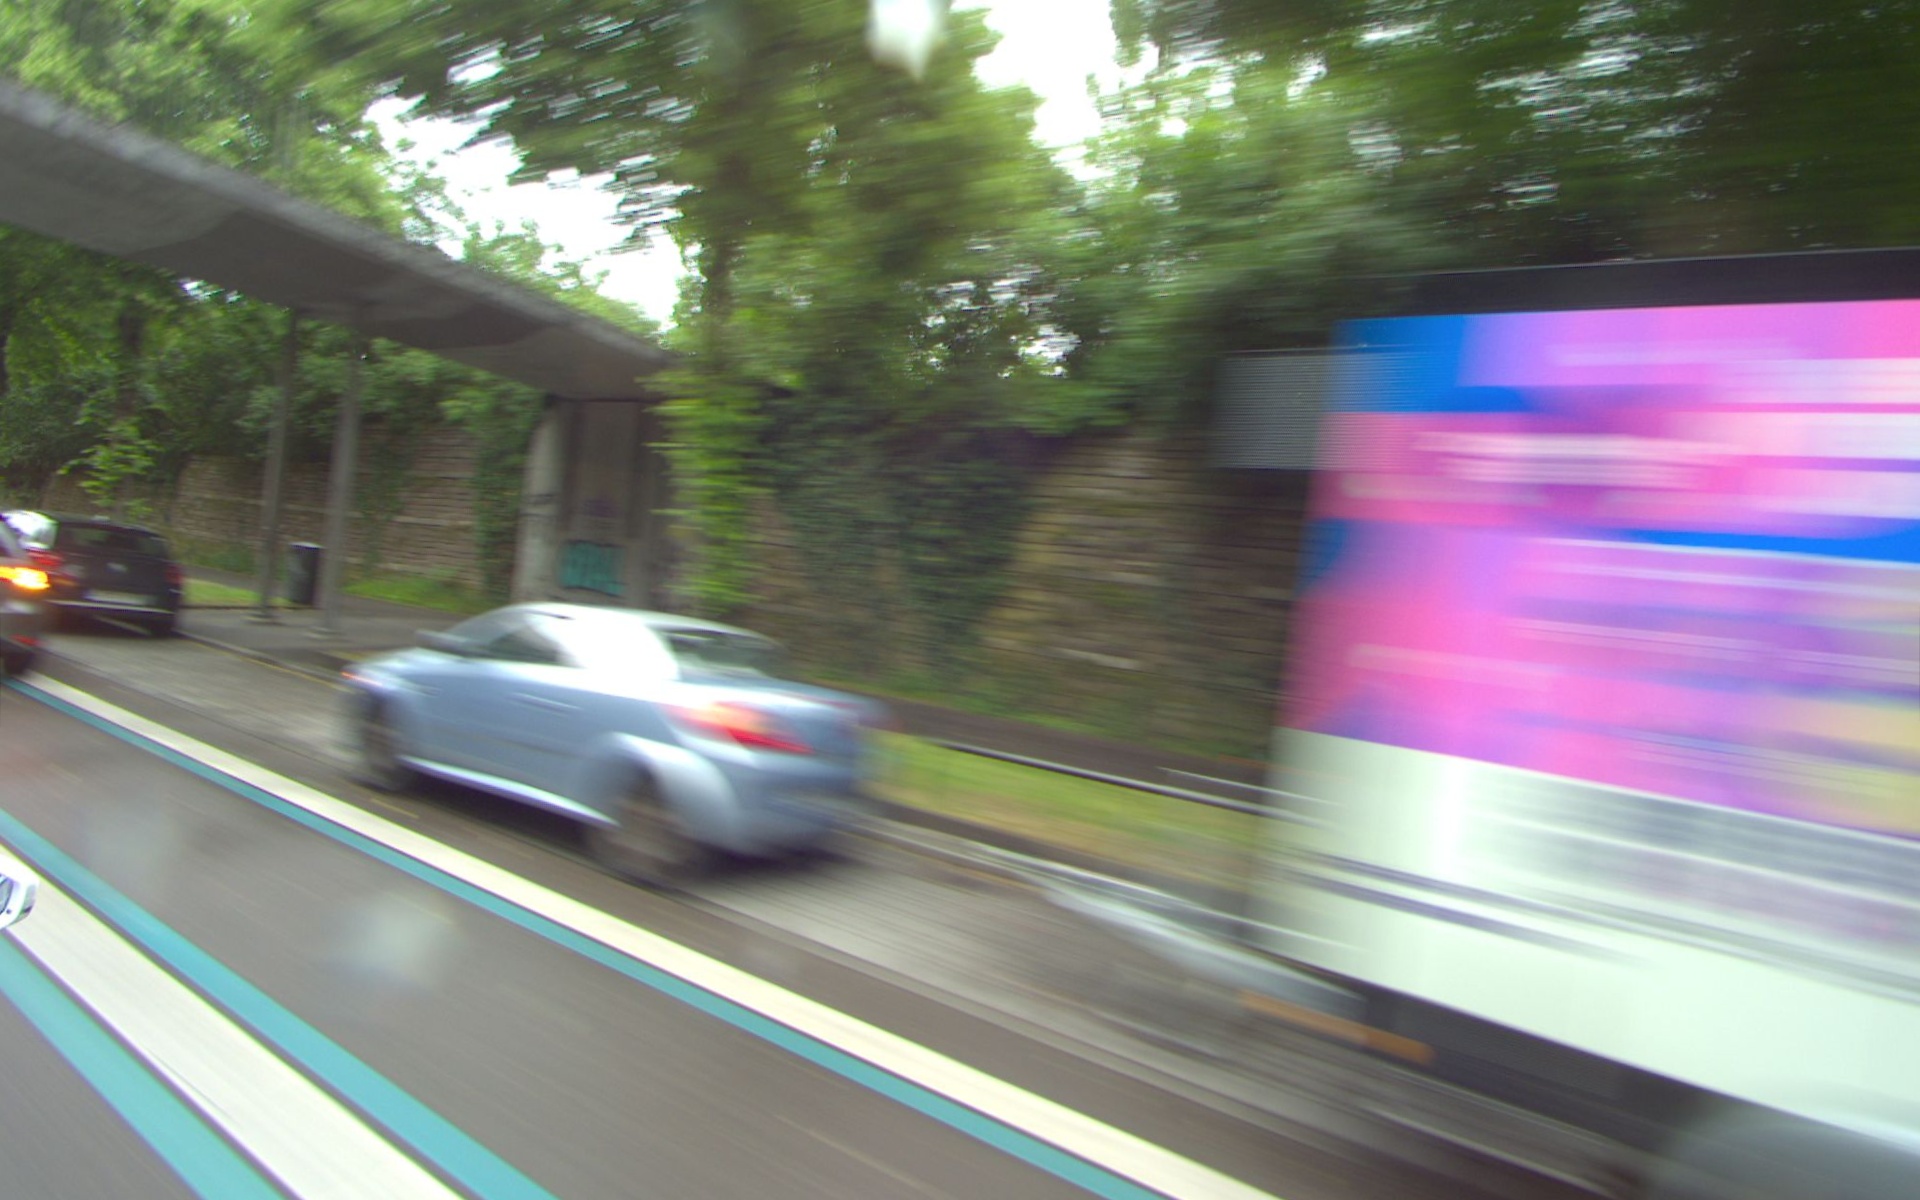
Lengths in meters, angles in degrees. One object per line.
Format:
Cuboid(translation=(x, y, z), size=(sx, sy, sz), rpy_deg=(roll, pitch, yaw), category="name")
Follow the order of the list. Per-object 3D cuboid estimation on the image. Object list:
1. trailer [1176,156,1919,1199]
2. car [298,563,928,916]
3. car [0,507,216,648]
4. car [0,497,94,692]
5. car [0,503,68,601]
Cuboid(translation=(2.961, 0.560, 2.697), size=(3.942, 2.791, 1.955), rpy_deg=(7, -1, 33), category="trailer")
Cuboid(translation=(-2.297, 0.706, 6.408), size=(3.797, 1.368, 1.588), rpy_deg=(7, -2, 31), category="car")
Cuboid(translation=(-11.703, -0.370, 13.192), size=(4.128, 1.434, 1.688), rpy_deg=(7, 0, 33), category="car")
Cuboid(translation=(-9.453, -0.270, 8.742), size=(4.073, 1.526, 1.820), rpy_deg=(7, -1, 34), category="car")
Cuboid(translation=(-16.452, -0.963, 16.458), size=(4.034, 1.433, 1.688), rpy_deg=(6, -2, 33), category="car")
